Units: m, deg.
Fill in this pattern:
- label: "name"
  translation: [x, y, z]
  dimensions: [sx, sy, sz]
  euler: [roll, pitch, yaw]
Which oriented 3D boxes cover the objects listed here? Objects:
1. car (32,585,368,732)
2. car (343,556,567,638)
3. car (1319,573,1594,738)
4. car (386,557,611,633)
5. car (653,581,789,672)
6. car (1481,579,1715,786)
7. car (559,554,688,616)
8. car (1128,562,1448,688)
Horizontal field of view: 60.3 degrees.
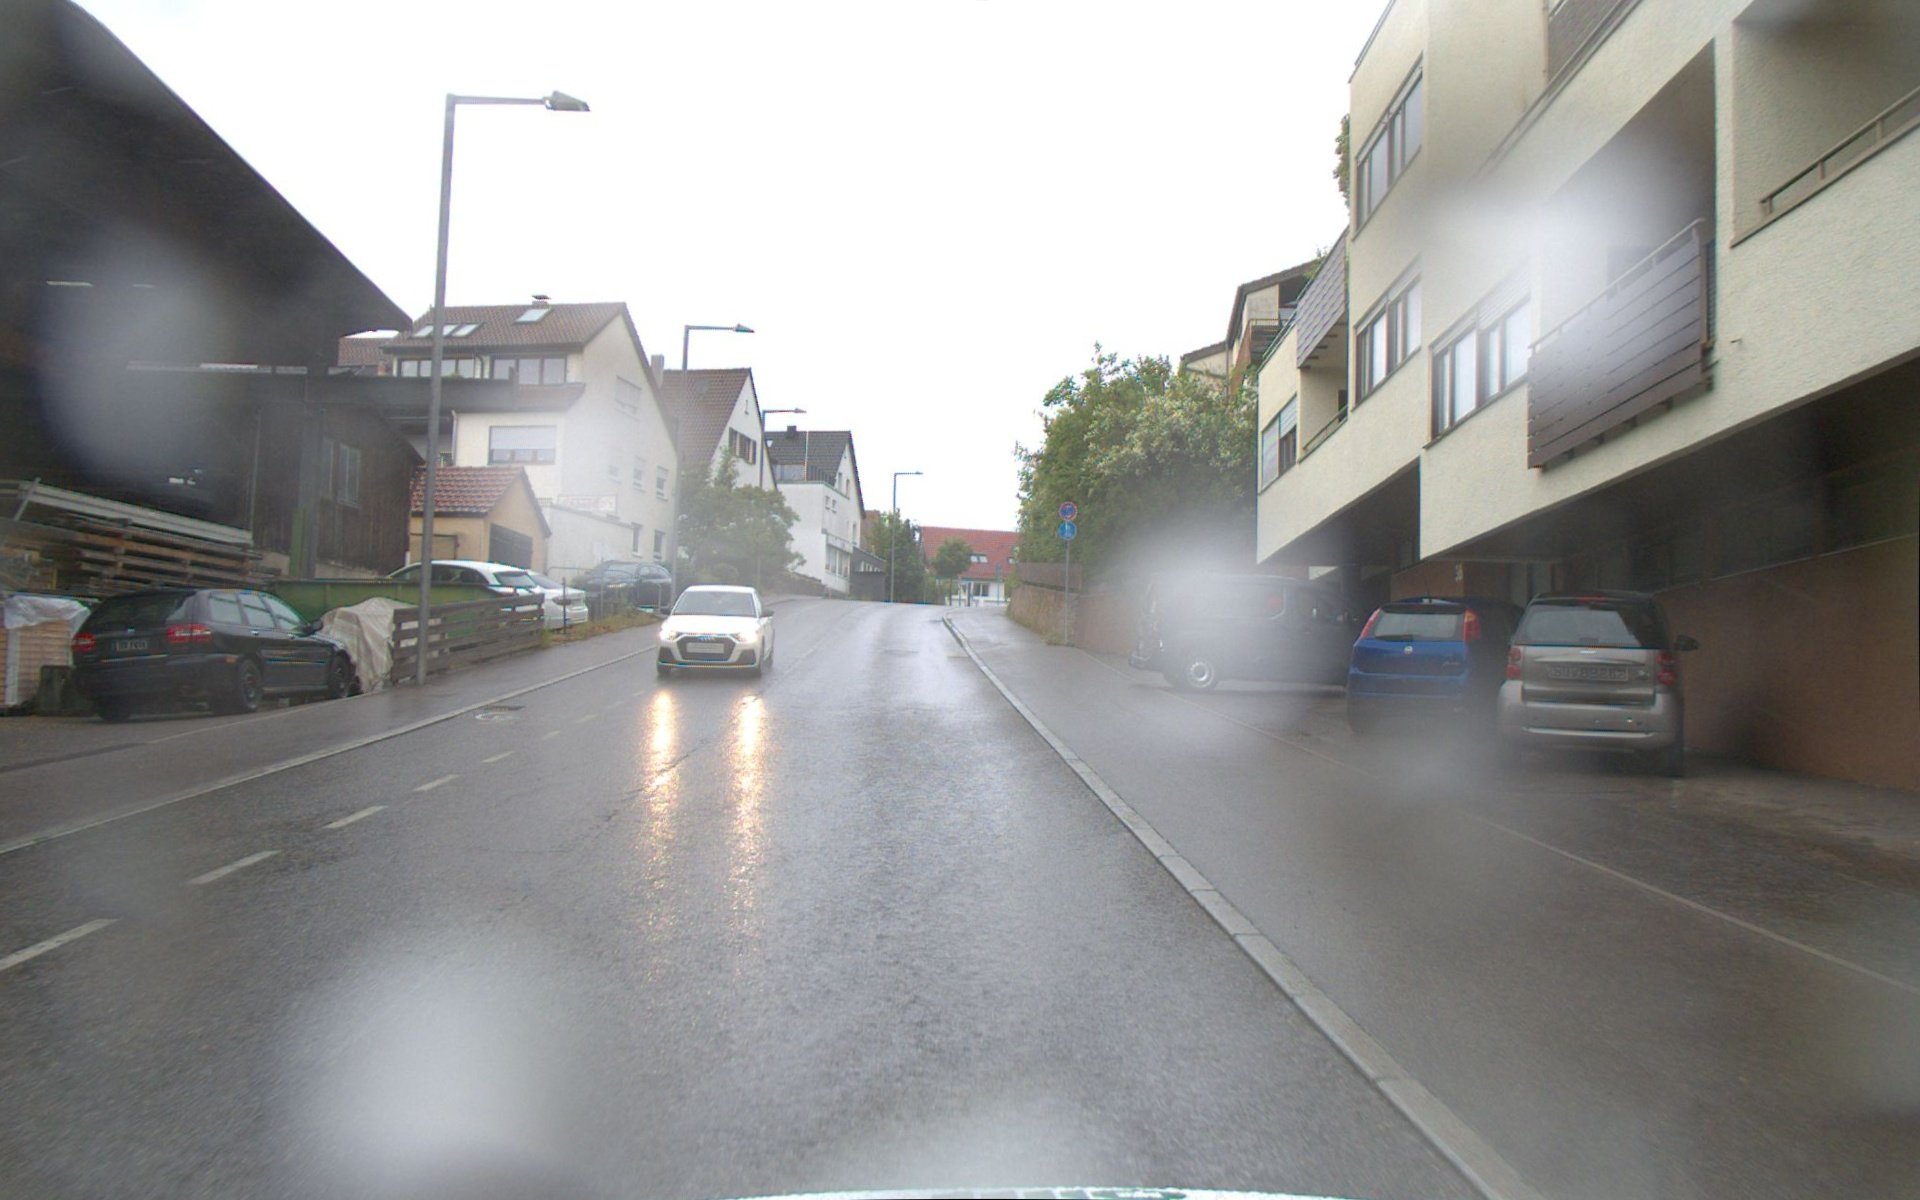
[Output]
- label: "car"
  translation: [-8.606, 0.581, 19.225]
  dimensions: [1.856, 1.466, 4.446]
  euler: [-1, 1, 0]
- label: "car"
  translation: [-10.230, -0.074, 33.621]
  dimensions: [3.902, 1.531, 1.902]
  euler: [1, 1, 10]
- label: "car"
  translation: [5.778, 0.599, 18.946]
  dimensions: [1.752, 1.606, 4.051]
  euler: [4, 1, 35]
- label: "car"
  translation: [-10.227, -0.128, 36.762]
  dimensions: [4.400, 1.531, 1.902]
  euler: [1, 1, 10]
- label: "car"
  translation: [-3.963, 0.407, 27.969]
  dimensions: [1.668, 1.412, 4.051]
  euler: [-1, 0, 0]
- label: "car"
  translation: [6.183, 0.695, 15.762]
  dimensions: [1.747, 1.606, 4.064]
  euler: [3, 1, 25]
- label: "car"
  translation: [-9.765, -0.438, 48.392]
  dimensions: [1.932, 1.688, 4.967]
  euler: [1, 1, 11]
- label: "car"
  translation: [5.109, 0.366, 26.175]
  dimensions: [4.613, 1.852, 1.999]
  euler: [1, 1, -3]
